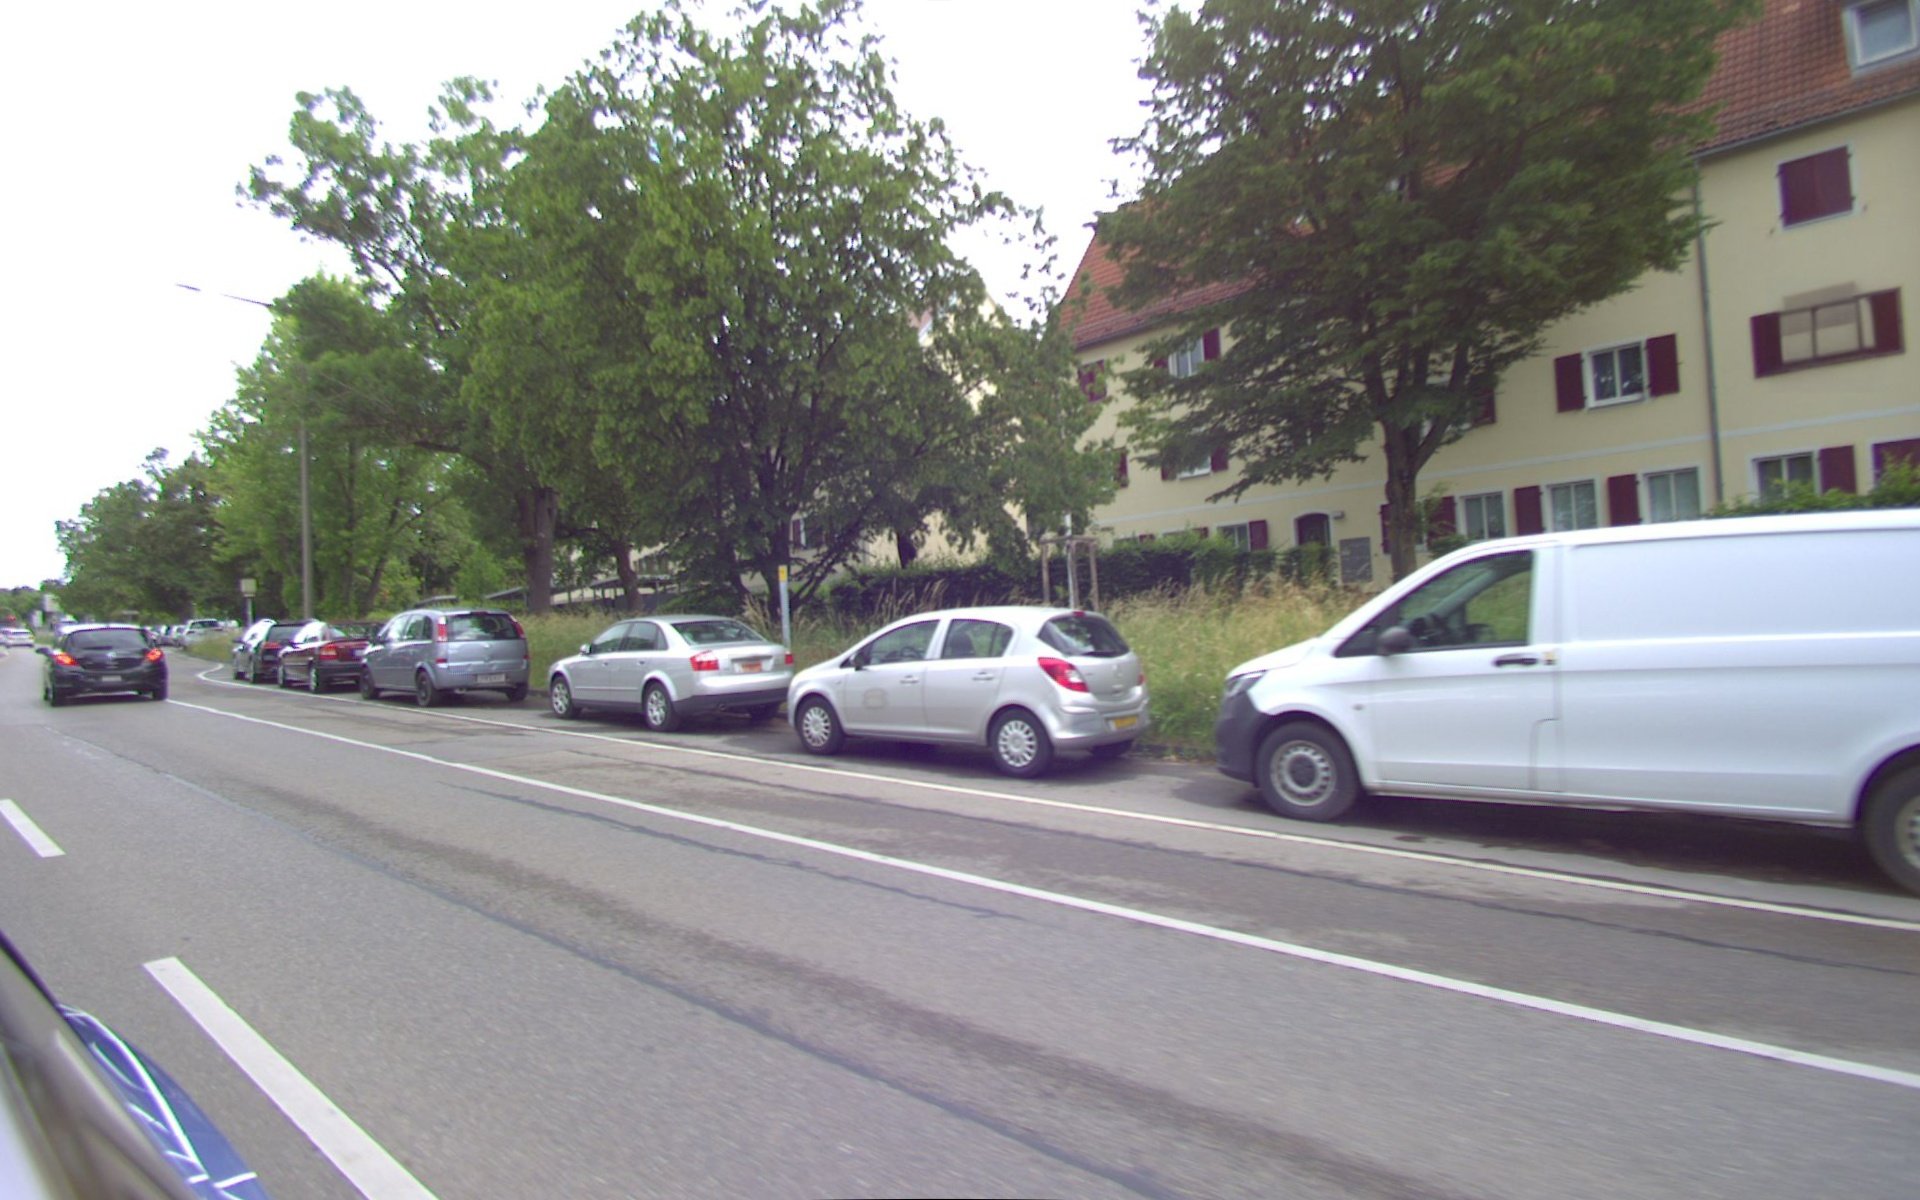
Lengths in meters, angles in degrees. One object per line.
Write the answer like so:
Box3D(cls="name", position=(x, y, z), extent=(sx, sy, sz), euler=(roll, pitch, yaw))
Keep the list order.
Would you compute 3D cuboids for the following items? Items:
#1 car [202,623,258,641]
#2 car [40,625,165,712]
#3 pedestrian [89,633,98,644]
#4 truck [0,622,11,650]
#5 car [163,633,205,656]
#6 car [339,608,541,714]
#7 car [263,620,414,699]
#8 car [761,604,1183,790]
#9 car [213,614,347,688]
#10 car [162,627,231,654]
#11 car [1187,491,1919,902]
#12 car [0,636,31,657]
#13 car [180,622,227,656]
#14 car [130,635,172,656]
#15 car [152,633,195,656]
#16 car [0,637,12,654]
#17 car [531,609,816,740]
Box3D(cls="car", position=(-87.926, 3.843, 121.917), extent=(2.011, 2.029, 5.227), euler=(-2, -2, 42))
Box3D(cls="car", position=(-16.583, 1.237, 19.509), extent=(1.618, 1.478, 4.003), euler=(0, -1, -44))
Box3D(cls="pedestrian", position=(-111.223, 4.926, 129.940), extent=(0.639, 1.458, 0.747), euler=(-2, 0, 43))
Box3D(cls="truck", position=(-124.705, 4.663, 130.903), extent=(2.791, 3.507, 7.831), euler=(-1, -1, -43))
Box3D(cls="car", position=(-54.348, 3.106, 70.848), extent=(1.854, 1.518, 4.002), euler=(-1, -1, -45))
Box3D(cls="car", position=(-9.183, 1.011, 17.742), extent=(4.133, 1.604, 1.749), euler=(-2, -1, 41))
Box3D(cls="car", position=(-13.098, 1.197, 21.235), extent=(4.151, 1.458, 1.748), euler=(-2, -1, 44))
Box3D(cls="car", position=(0.000, 0.844, 9.951), extent=(3.944, 1.444, 1.619), euler=(-2, 0, 38))
Box3D(cls="car", position=(-16.614, 1.187, 24.636), extent=(1.854, 1.582, 4.653), euler=(-2, 0, -45))
Box3D(cls="car", position=(-48.319, 2.570, 64.046), extent=(3.977, 1.518, 1.866), euler=(-2, -1, 25))
Box3D(cls="car", position=(4.172, 0.472, 6.232), extent=(5.151, 1.945, 1.750), euler=(-2, 0, 40))
Box3D(cls="car", position=(-80.847, 3.924, 86.560), extent=(1.854, 1.582, 4.342), euler=(-2, 1, -45))
Box3D(cls="car", position=(-41.397, 2.075, 55.326), extent=(1.851, 1.679, 4.398), euler=(-2, 1, -39))
Box3D(cls="car", position=(-62.142, 3.486, 77.713), extent=(4.056, 1.518, 1.855), euler=(-2, 0, 43))
Box3D(cls="car", position=(-57.809, 3.265, 74.376), extent=(4.000, 1.518, 1.855), euler=(-2, 0, 43))
Box3D(cls="car", position=(-103.033, 4.928, 108.400), extent=(4.406, 1.783, 1.808), euler=(-3, 0, 43))
Box3D(cls="car", position=(-4.018, 0.924, 13.744), extent=(4.357, 1.507, 1.748), euler=(-2, -2, 43))
